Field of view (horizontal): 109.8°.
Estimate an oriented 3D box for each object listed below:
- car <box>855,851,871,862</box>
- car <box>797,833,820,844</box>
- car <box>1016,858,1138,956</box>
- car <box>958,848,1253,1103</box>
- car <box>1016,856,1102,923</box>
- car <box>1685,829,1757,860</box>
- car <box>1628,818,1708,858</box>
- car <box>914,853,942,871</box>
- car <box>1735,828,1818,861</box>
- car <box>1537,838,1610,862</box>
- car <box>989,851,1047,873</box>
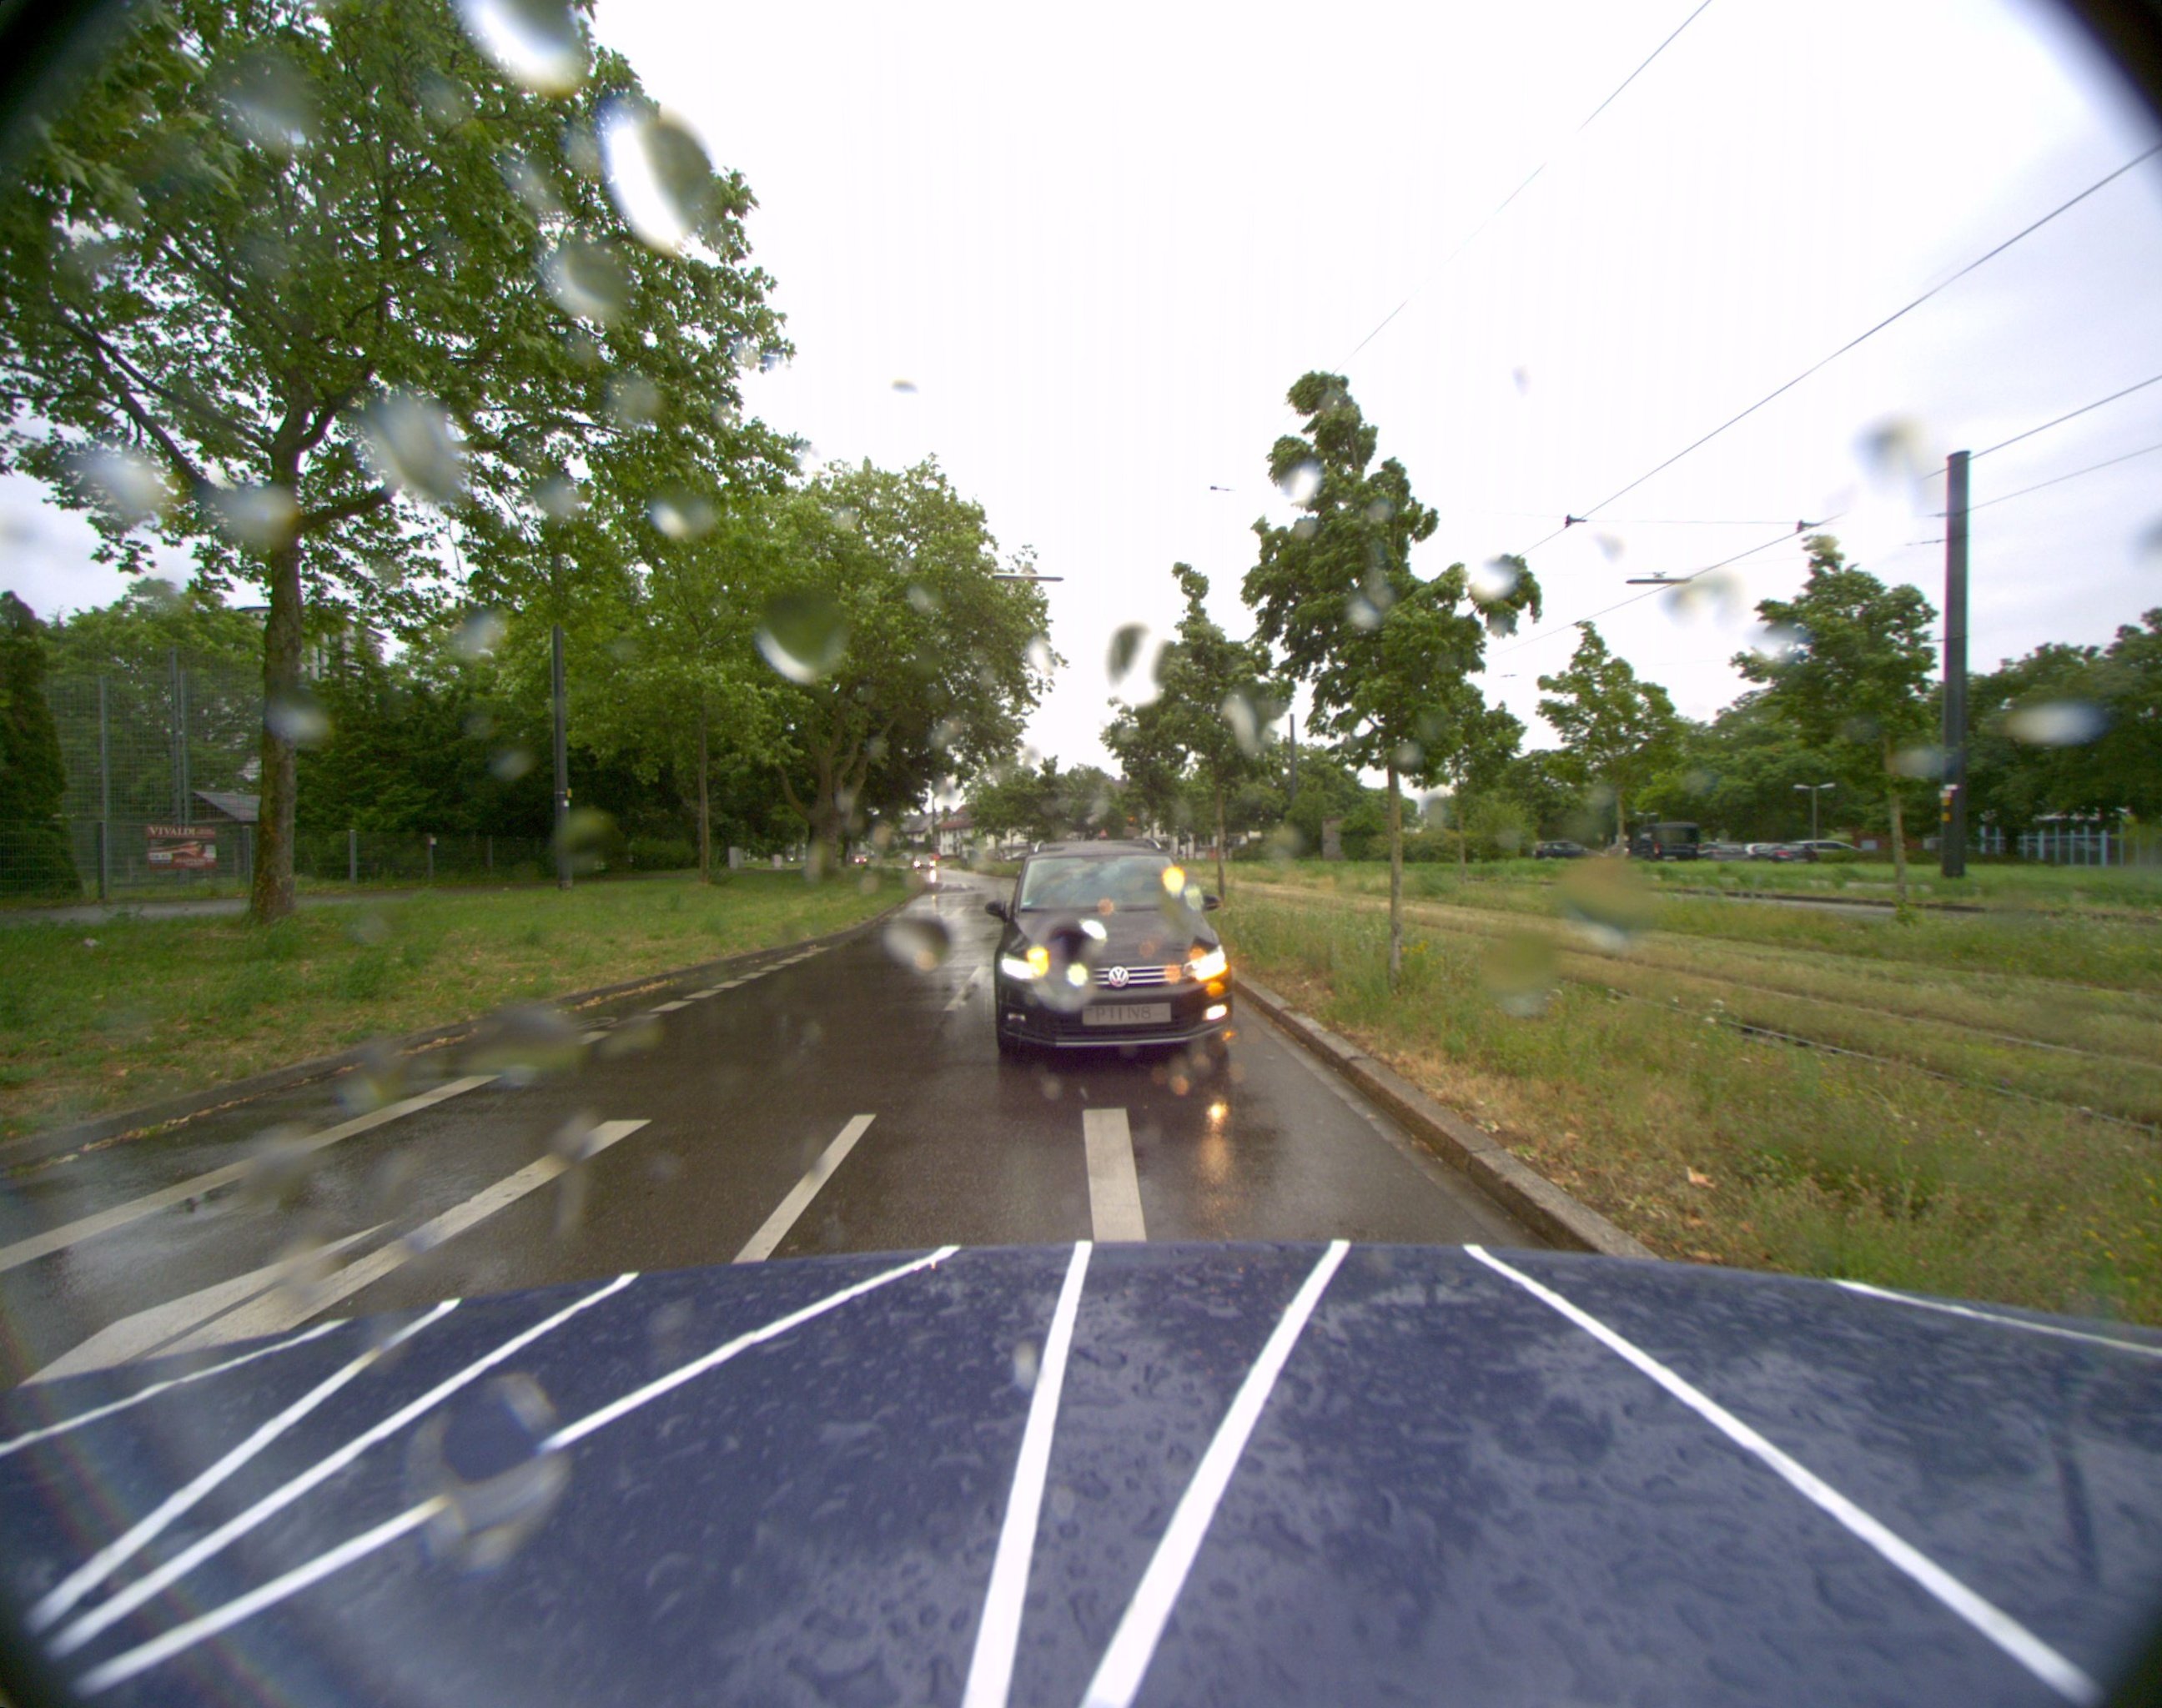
[{"bbox_3d":[-30.552,0.318,106.460,1.791,1.373,3.858,-3,1,-19],"label":"car"},{"bbox_3d":[-51.608,-2.950,143.855,4.004,1.816,1.996,-3,1,-24],"label":"car"},{"bbox_3d":[-0.123,0.805,13.499,1.788,1.355,3.996,-2,1,-2],"label":"car"},{"bbox_3d":[0.186,0.779,7.220,1.866,1.592,4.524,-2,1,1],"label":"car"},{"bbox_3d":[-0.658,0.795,19.055,1.789,1.396,3.791,-2,1,-6],"label":"car"},{"bbox_3d":[34.643,-0.537,41.270,1.752,1.522,4.856,-2,1,24],"label":"car"},{"bbox_3d":[32.003,-0.879,41.588,2.307,2.002,5.125,-2,1,24],"label":"car"},{"bbox_3d":[-14.492,0.717,71.890,1.875,1.608,3.802,-3,1,-22],"label":"car"},{"bbox_3d":[36.524,-0.540,40.062,2.057,1.563,5.024,-2,1,29],"label":"car"},{"bbox_3d":[34.753,-0.284,53.730,4.172,1.474,1.786,-2,1,27],"label":"car"},{"bbox_3d":[-4.652,0.568,55.581,4.046,1.412,1.674,-2,1,-10],"label":"car"}]
